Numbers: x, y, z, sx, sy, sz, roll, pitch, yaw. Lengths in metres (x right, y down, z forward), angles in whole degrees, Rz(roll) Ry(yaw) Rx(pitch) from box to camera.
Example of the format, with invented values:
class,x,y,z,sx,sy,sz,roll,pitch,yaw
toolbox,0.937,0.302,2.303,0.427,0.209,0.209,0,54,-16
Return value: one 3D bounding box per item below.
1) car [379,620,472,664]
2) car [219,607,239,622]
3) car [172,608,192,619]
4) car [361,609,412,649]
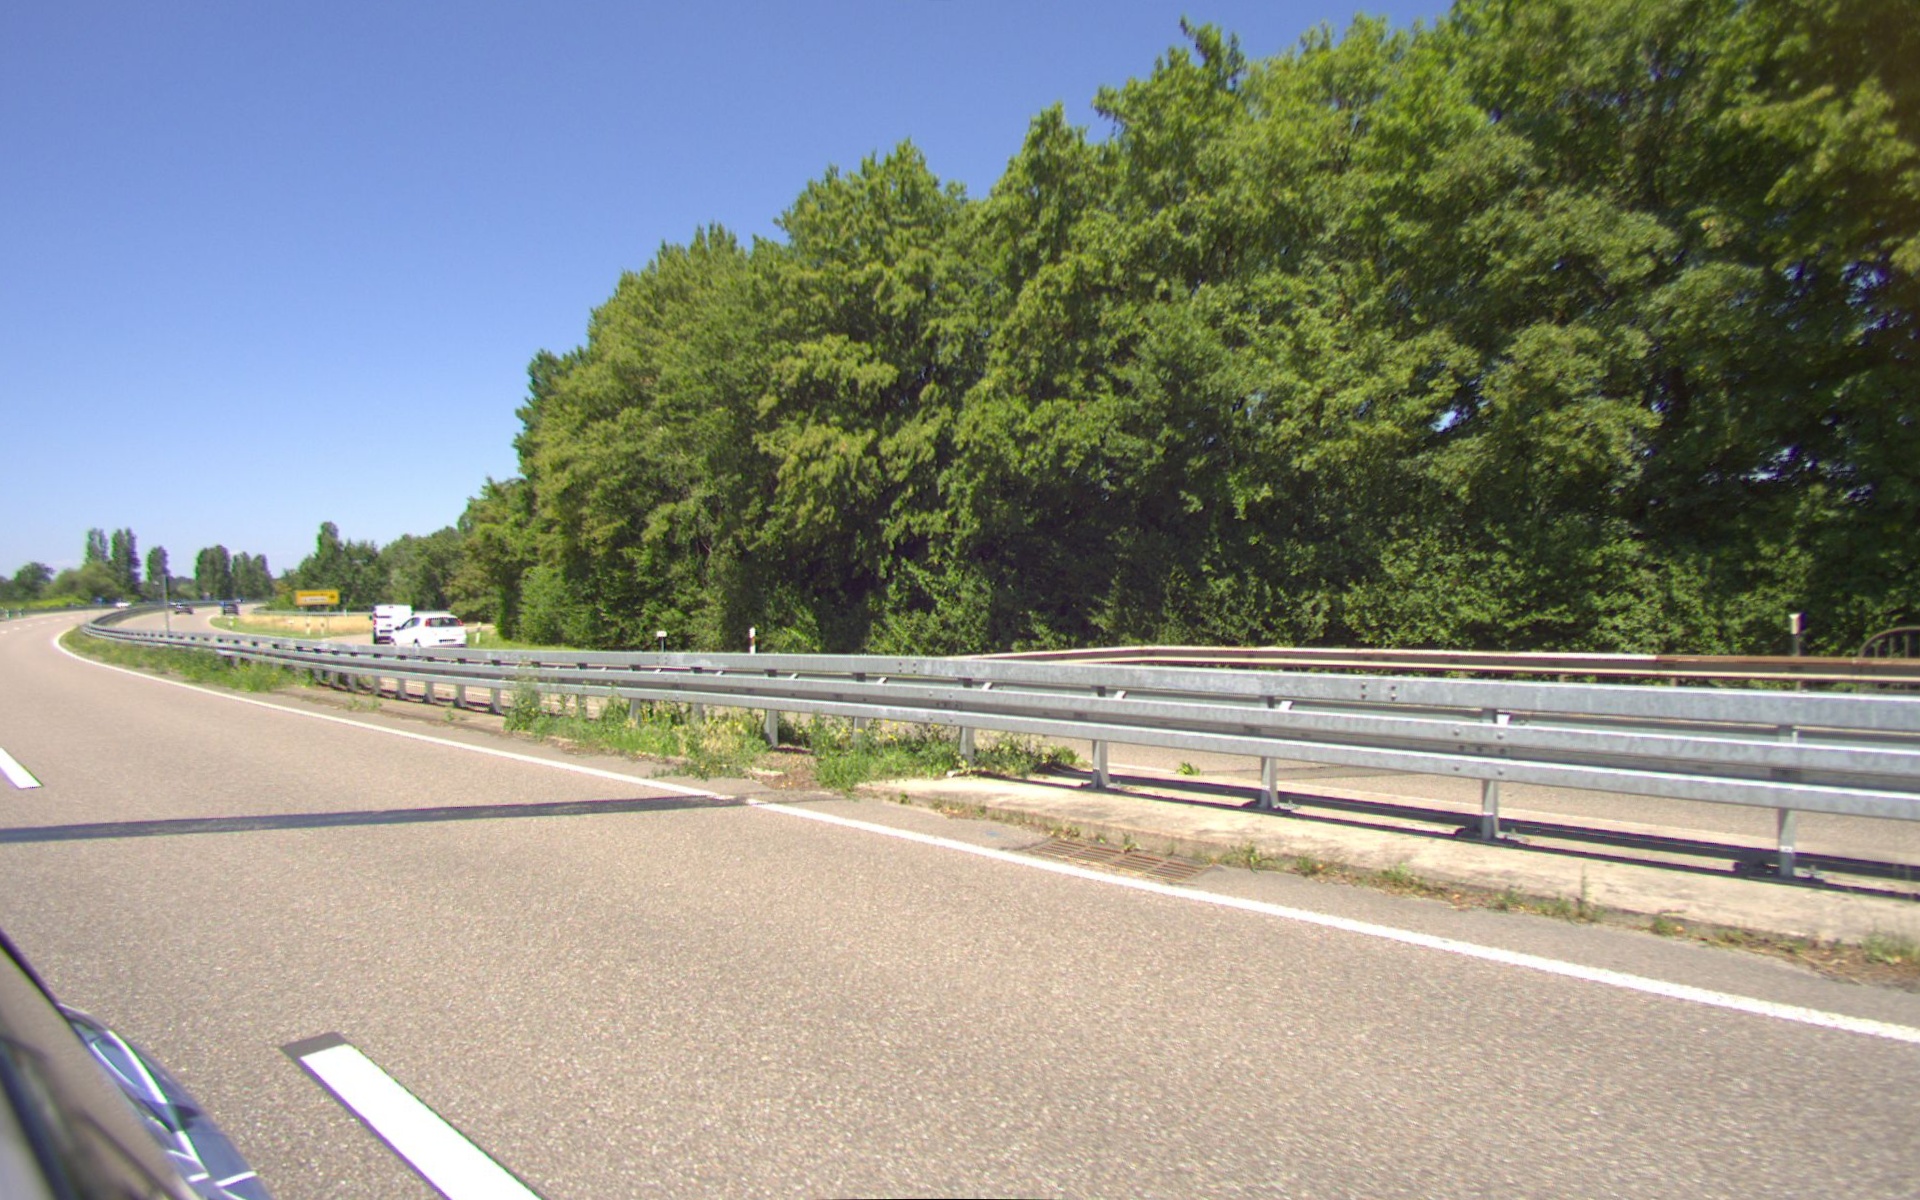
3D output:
class,x,y,z,sx,sy,sz,roll,pitch,yaw
car,-19.228,1.468,36.325,4.219,1.458,1.633,-1,-1,43
car,-104.915,2.048,145.303,1.969,2.028,4.006,-3,2,-40
car,-113.275,1.982,147.394,1.798,1.630,4.553,0,-1,-30
car,-29.864,1.492,52.606,1.962,1.966,5.655,0,-1,-33
